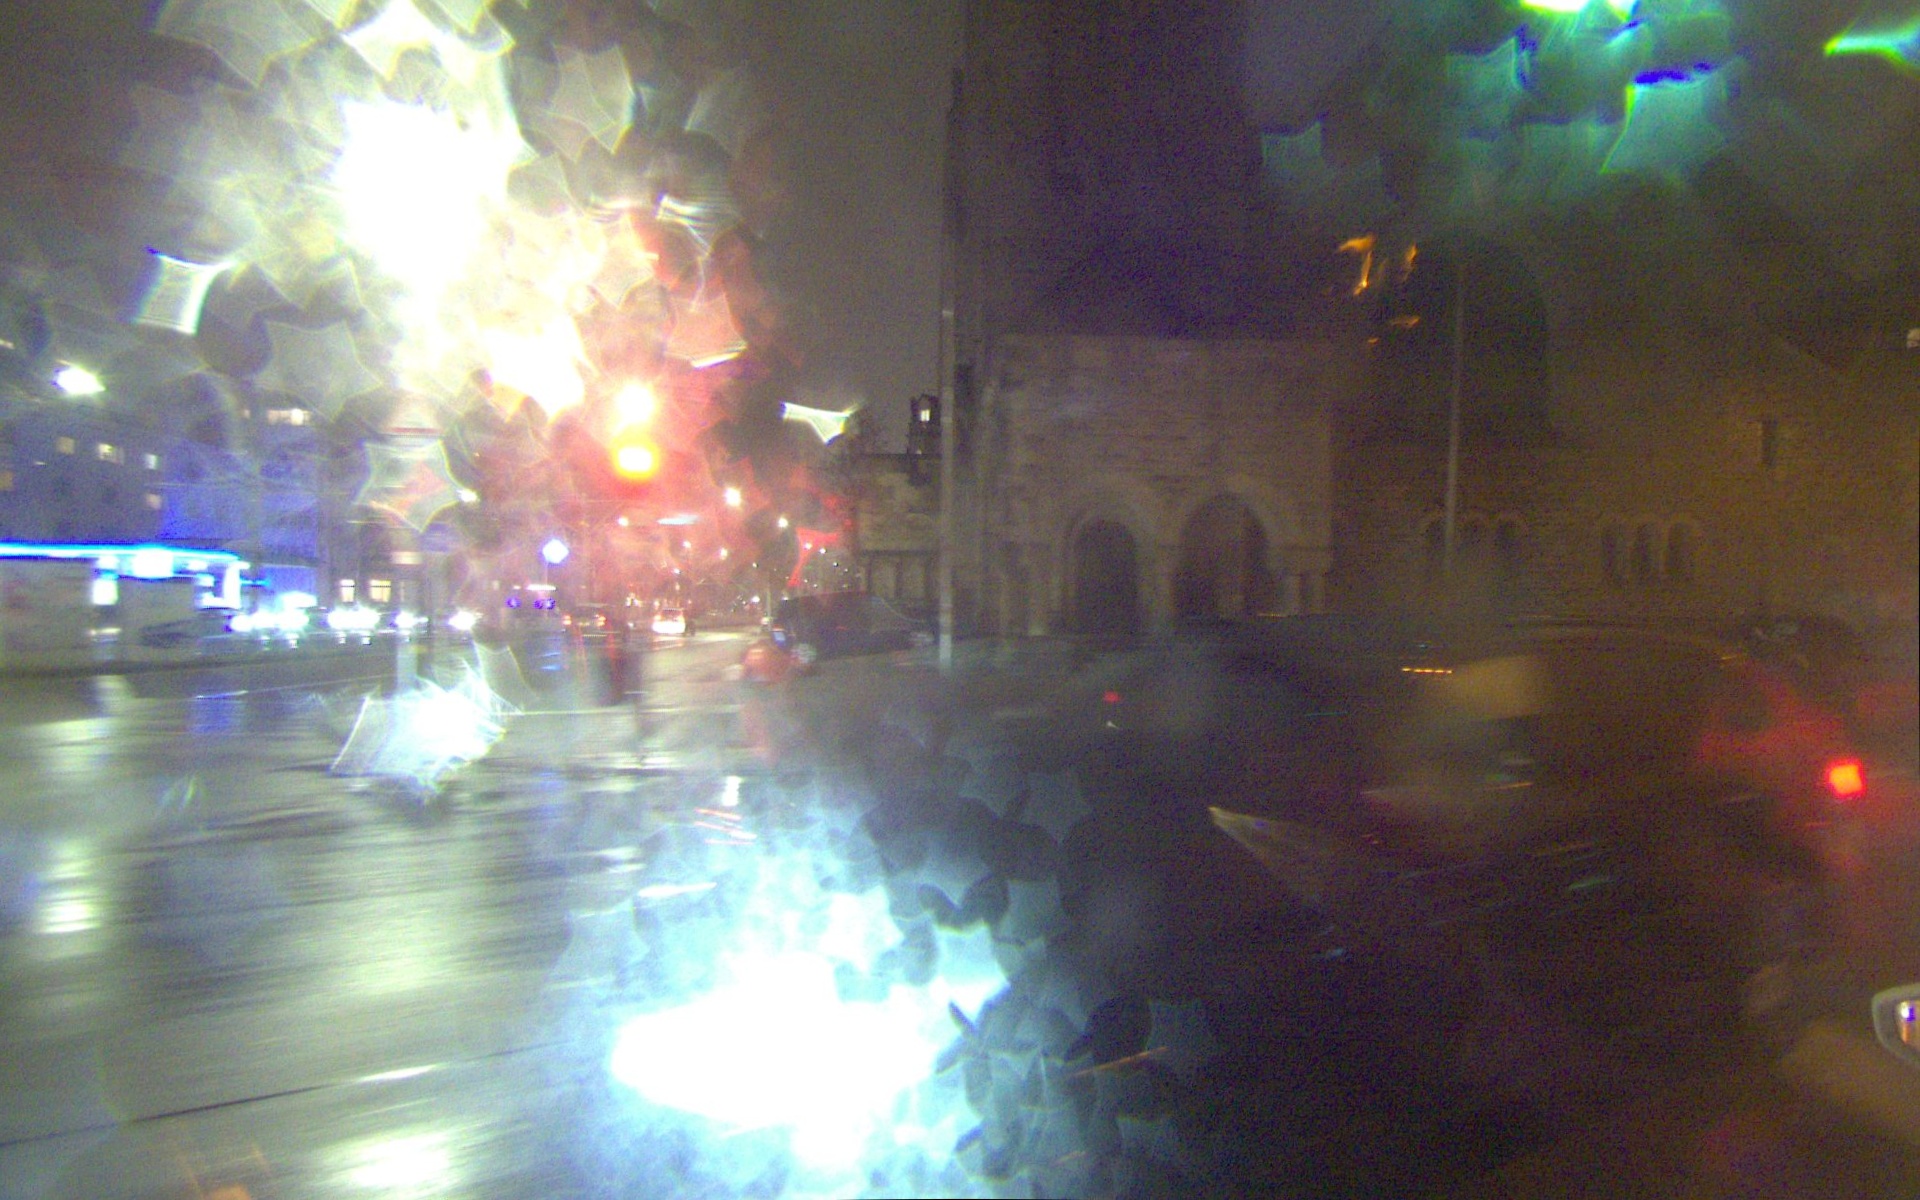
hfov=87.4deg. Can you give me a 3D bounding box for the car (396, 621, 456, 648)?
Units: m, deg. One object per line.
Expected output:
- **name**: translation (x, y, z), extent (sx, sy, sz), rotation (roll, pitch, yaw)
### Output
- **car**: translation (-37.764, 2.415, 71.178), extent (1.861, 1.766, 4.738), rotation (0, -1, -3)

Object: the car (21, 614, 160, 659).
- **car**: translation (-36.231, 1.478, 42.059), extent (1.861, 1.766, 4.738), rotation (0, -1, -3)

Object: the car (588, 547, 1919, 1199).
- **car**: translation (1.361, 0.738, 3.526), extent (4.797, 1.575, 1.779), rotation (1, -1, -30)

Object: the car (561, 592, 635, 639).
- **car**: translation (-14.888, 0.640, 41.523), extent (1.862, 1.804, 4.330), rotation (0, -1, -5)

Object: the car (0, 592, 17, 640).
- **car**: translation (-35.884, 0.566, 35.032), extent (1.862, 1.766, 4.736), rotation (0, -1, -5)

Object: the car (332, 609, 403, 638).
- **car**: translation (-37.425, 1.440, 63.561), extent (1.861, 1.766, 4.738), rotation (0, -1, -3)

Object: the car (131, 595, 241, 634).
- **car**: translation (-36.439, 0.695, 47.451), extent (1.862, 1.766, 4.736), rotation (0, -1, -5)

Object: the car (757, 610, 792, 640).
- **car**: translation (-11.740, 1.558, 63.768), extent (2.050, 1.804, 4.327), rotation (0, -1, -9)

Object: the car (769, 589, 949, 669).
- **car**: translation (-2.372, 0.666, 24.104), extent (4.113, 1.723, 1.702), rotation (-1, 0, -4)

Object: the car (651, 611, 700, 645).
- **car**: translation (-15.644, 1.535, 55.482), extent (1.862, 1.804, 4.330), rotation (0, -1, -5)

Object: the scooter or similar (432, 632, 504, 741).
- **scooter or similar**: translation (-5.959, 1.023, 12.159), extent (1.061, 1.256, 0.285), rotation (0, 0, 34)

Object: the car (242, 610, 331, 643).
- **car**: translation (-37.206, 1.443, 55.631), extent (1.861, 1.766, 4.738), rotation (0, -1, -3)
